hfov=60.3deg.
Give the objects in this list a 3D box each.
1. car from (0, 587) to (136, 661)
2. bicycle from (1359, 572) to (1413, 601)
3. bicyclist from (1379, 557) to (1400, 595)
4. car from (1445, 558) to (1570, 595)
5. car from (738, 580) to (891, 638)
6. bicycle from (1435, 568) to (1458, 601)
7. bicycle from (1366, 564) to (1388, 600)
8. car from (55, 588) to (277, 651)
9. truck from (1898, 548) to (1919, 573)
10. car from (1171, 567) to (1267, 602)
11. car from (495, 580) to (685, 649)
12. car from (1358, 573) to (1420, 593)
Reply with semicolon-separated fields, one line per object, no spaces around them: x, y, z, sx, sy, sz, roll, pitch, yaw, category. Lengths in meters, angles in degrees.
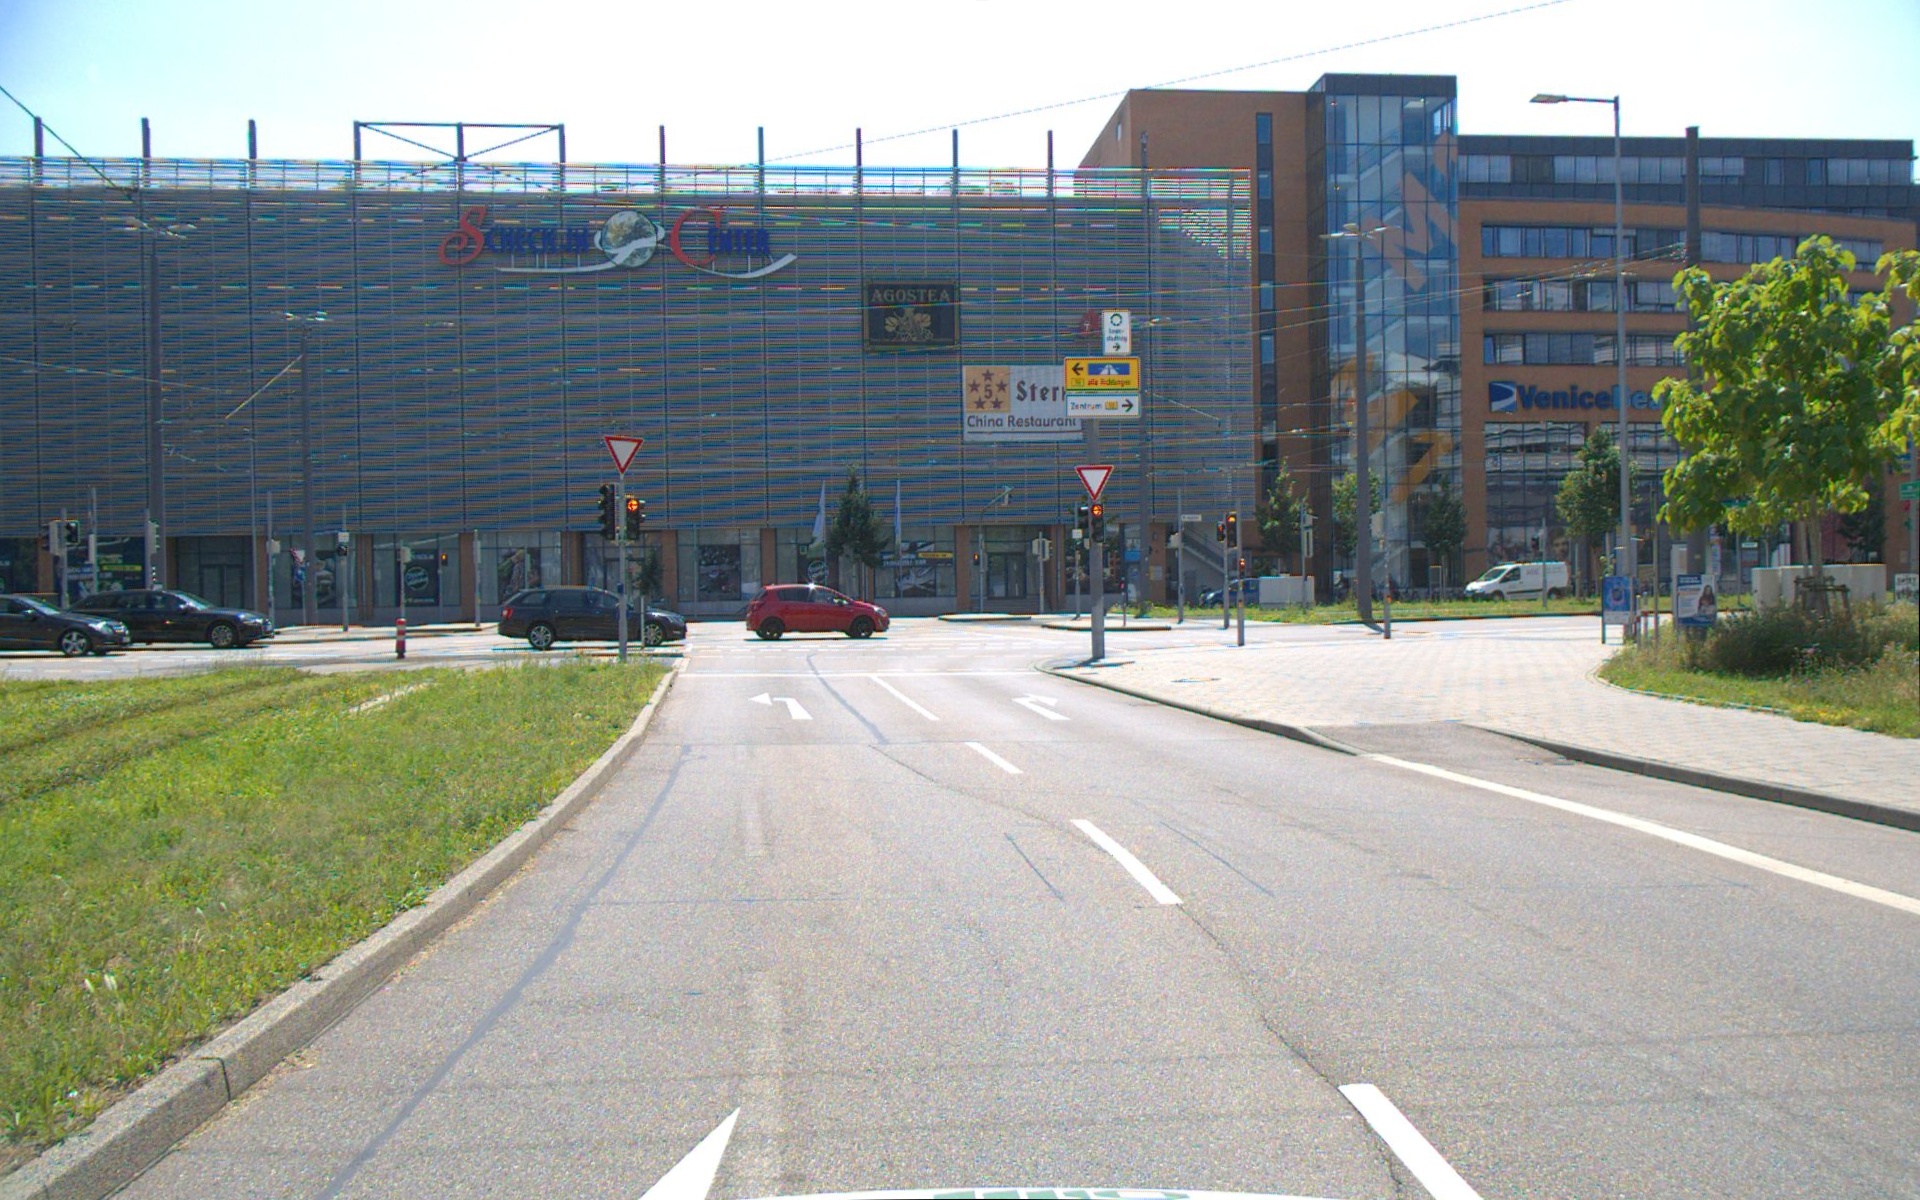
-21.522;0.528;37.699;4.466;1.604;1.996;0;1;-10;car
23.371;-0.730;90.778;2.793;1.584;0.704;0;1;-5;bicycle
23.578;-1.312;90.758;0.894;2.049;0.747;0;1;-5;bicyclist
25.893;-1.107;78.216;5.368;1.697;1.994;0;1;-13;car
-4.031;0.223;45.486;4.051;1.534;1.838;0;1;-11;car
27.275;-0.906;92.809;0.475;1.828;2.257;0;1;-5;bicycle
23.415;-1.022;92.955;0.475;2.049;2.344;0;1;-5;bicycle
-19.887;0.465;41.624;4.678;1.486;1.884;0;1;-10;car
81.573;-3.308;138.190;1.858;2.049;5.322;0;1;-32;truck
11.643;-0.711;74.597;3.913;1.565;1.877;0;1;-9;car
-9.133;0.324;40.917;4.450;1.534;1.836;-2;1;-14;car
23.087;-0.904;89.026;2.939;1.053;1.347;0;1;-10;car
